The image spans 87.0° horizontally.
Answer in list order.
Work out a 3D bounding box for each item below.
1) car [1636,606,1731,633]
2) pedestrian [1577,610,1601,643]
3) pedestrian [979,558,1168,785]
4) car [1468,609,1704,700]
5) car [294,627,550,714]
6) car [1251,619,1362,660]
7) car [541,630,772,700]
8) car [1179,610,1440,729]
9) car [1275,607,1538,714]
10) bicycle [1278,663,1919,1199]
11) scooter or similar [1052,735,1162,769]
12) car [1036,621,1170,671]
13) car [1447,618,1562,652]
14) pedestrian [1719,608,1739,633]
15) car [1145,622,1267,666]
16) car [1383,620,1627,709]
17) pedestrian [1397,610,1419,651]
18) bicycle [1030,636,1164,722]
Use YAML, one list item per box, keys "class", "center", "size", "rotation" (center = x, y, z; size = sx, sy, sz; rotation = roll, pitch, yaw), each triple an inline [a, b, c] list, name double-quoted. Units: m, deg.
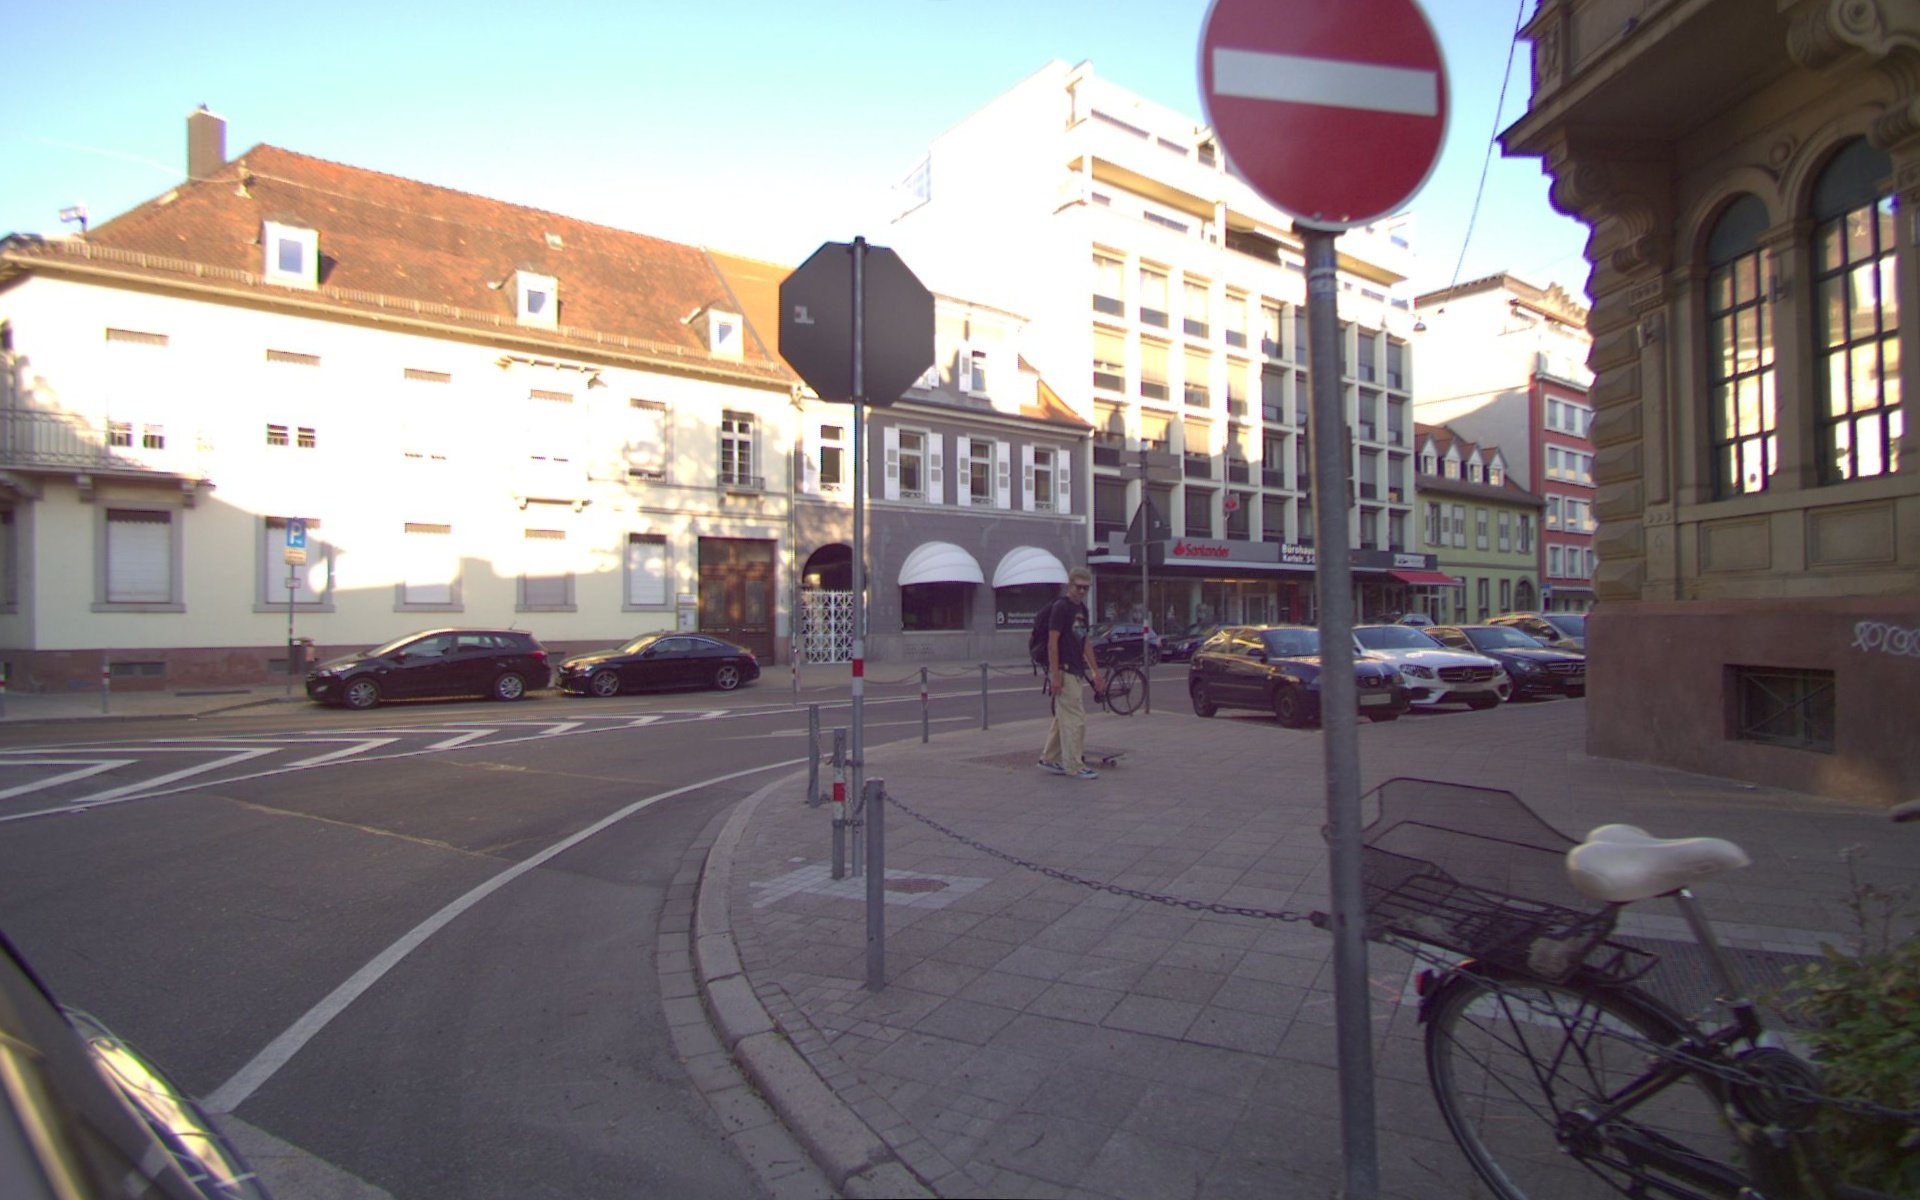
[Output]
- class: "car"
  center: [42.338, 1.153, 59.363]
  size: [4.201, 1.485, 1.740]
  rotation: [-1, -2, 24]
- class: "pedestrian"
  center: [38.324, 1.598, 61.677]
  size: [0.995, 1.959, 0.853]
  rotation: [0, -2, -32]
- class: "pedestrian"
  center: [0.953, 0.576, 8.515]
  size: [1.264, 1.752, 0.841]
  rotation: [-4, -2, 35]
- class: "car"
  center: [12.566, 1.036, 20.660]
  size: [1.763, 1.669, 4.060]
  rotation: [0, -1, -12]
- class: "car"
  center: [-10.795, 1.352, 20.461]
  size: [4.358, 1.553, 1.811]
  rotation: [1, -3, -37]
- class: "car"
  center: [13.321, 1.496, 38.763]
  size: [4.483, 1.457, 1.752]
  rotation: [0, -2, -36]
- class: "car"
  center: [-6.922, 1.429, 23.293]
  size: [4.777, 1.405, 1.783]
  rotation: [0, -2, -36]
- class: "car"
  center: [4.841, 1.013, 14.685]
  size: [1.712, 1.472, 3.872]
  rotation: [-1, -4, -13]
- class: "car"
  center: [7.270, 0.997, 17.112]
  size: [1.740, 1.523, 4.637]
  rotation: [-1, -3, -9]
- class: "bicycle"
  center: [1.757, 0.742, 1.134]
  size: [0.833, 1.277, 2.574]
  rotation: [2, -3, -44]
- class: "scooter or similar"
  center: [1.304, 1.349, 9.036]
  size: [0.880, 0.208, 0.413]
  rotation: [-3, -2, 35]
- class: "car"
  center: [4.542, 1.419, 31.973]
  size: [4.180, 1.458, 1.752]
  rotation: [0, -2, -37]
- class: "car"
  center: [24.417, 1.568, 45.513]
  size: [4.187, 1.450, 1.746]
  rotation: [-1, -1, 14]
- class: "pedestrian"
  center: [57.146, 1.536, 75.195]
  size: [0.995, 1.813, 0.853]
  rotation: [0, -2, -32]
- class: "car"
  center: [8.619, 1.498, 35.252]
  size: [4.429, 1.398, 1.751]
  rotation: [1, -2, -38]
- class: "car"
  center: [10.061, 1.120, 19.104]
  size: [1.682, 1.458, 4.262]
  rotation: [0, -1, -12]
- class: "pedestrian"
  center: [21.118, 1.424, 47.707]
  size: [0.707, 1.901, 0.614]
  rotation: [1, -2, -38]
- class: "bicycle"
  center: [1.977, 1.128, 14.602]
  size: [1.772, 1.134, 0.730]
  rotation: [0, -4, -29]
